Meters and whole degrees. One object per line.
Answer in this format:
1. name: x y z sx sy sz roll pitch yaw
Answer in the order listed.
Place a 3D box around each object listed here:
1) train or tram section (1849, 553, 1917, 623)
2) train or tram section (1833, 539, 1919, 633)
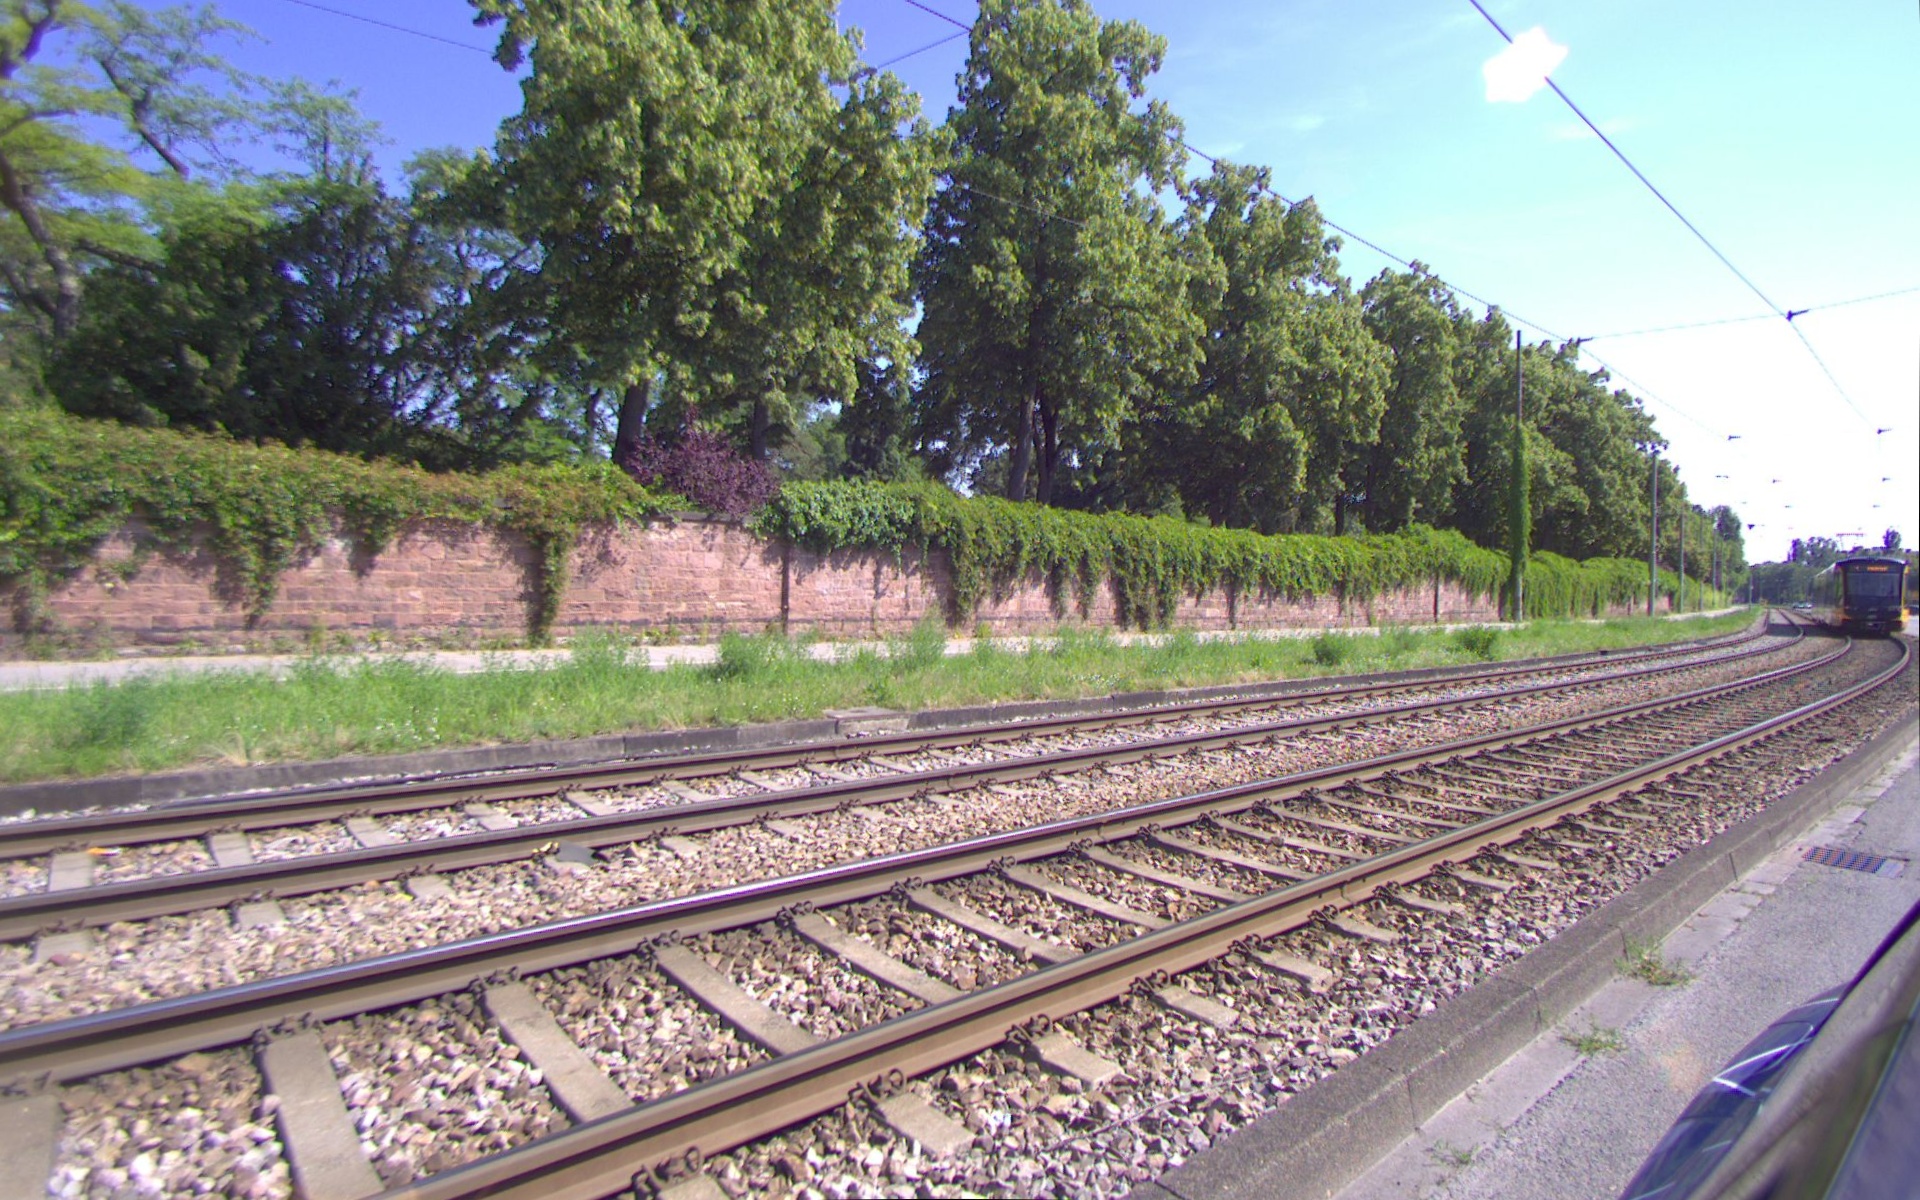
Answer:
1. train or tram section: 56.616 -0.676 61.960 2.713 3.785 18.584 1 1 43
2. train or tram section: 43.965 -0.591 48.334 2.713 3.785 18.584 1 1 43
